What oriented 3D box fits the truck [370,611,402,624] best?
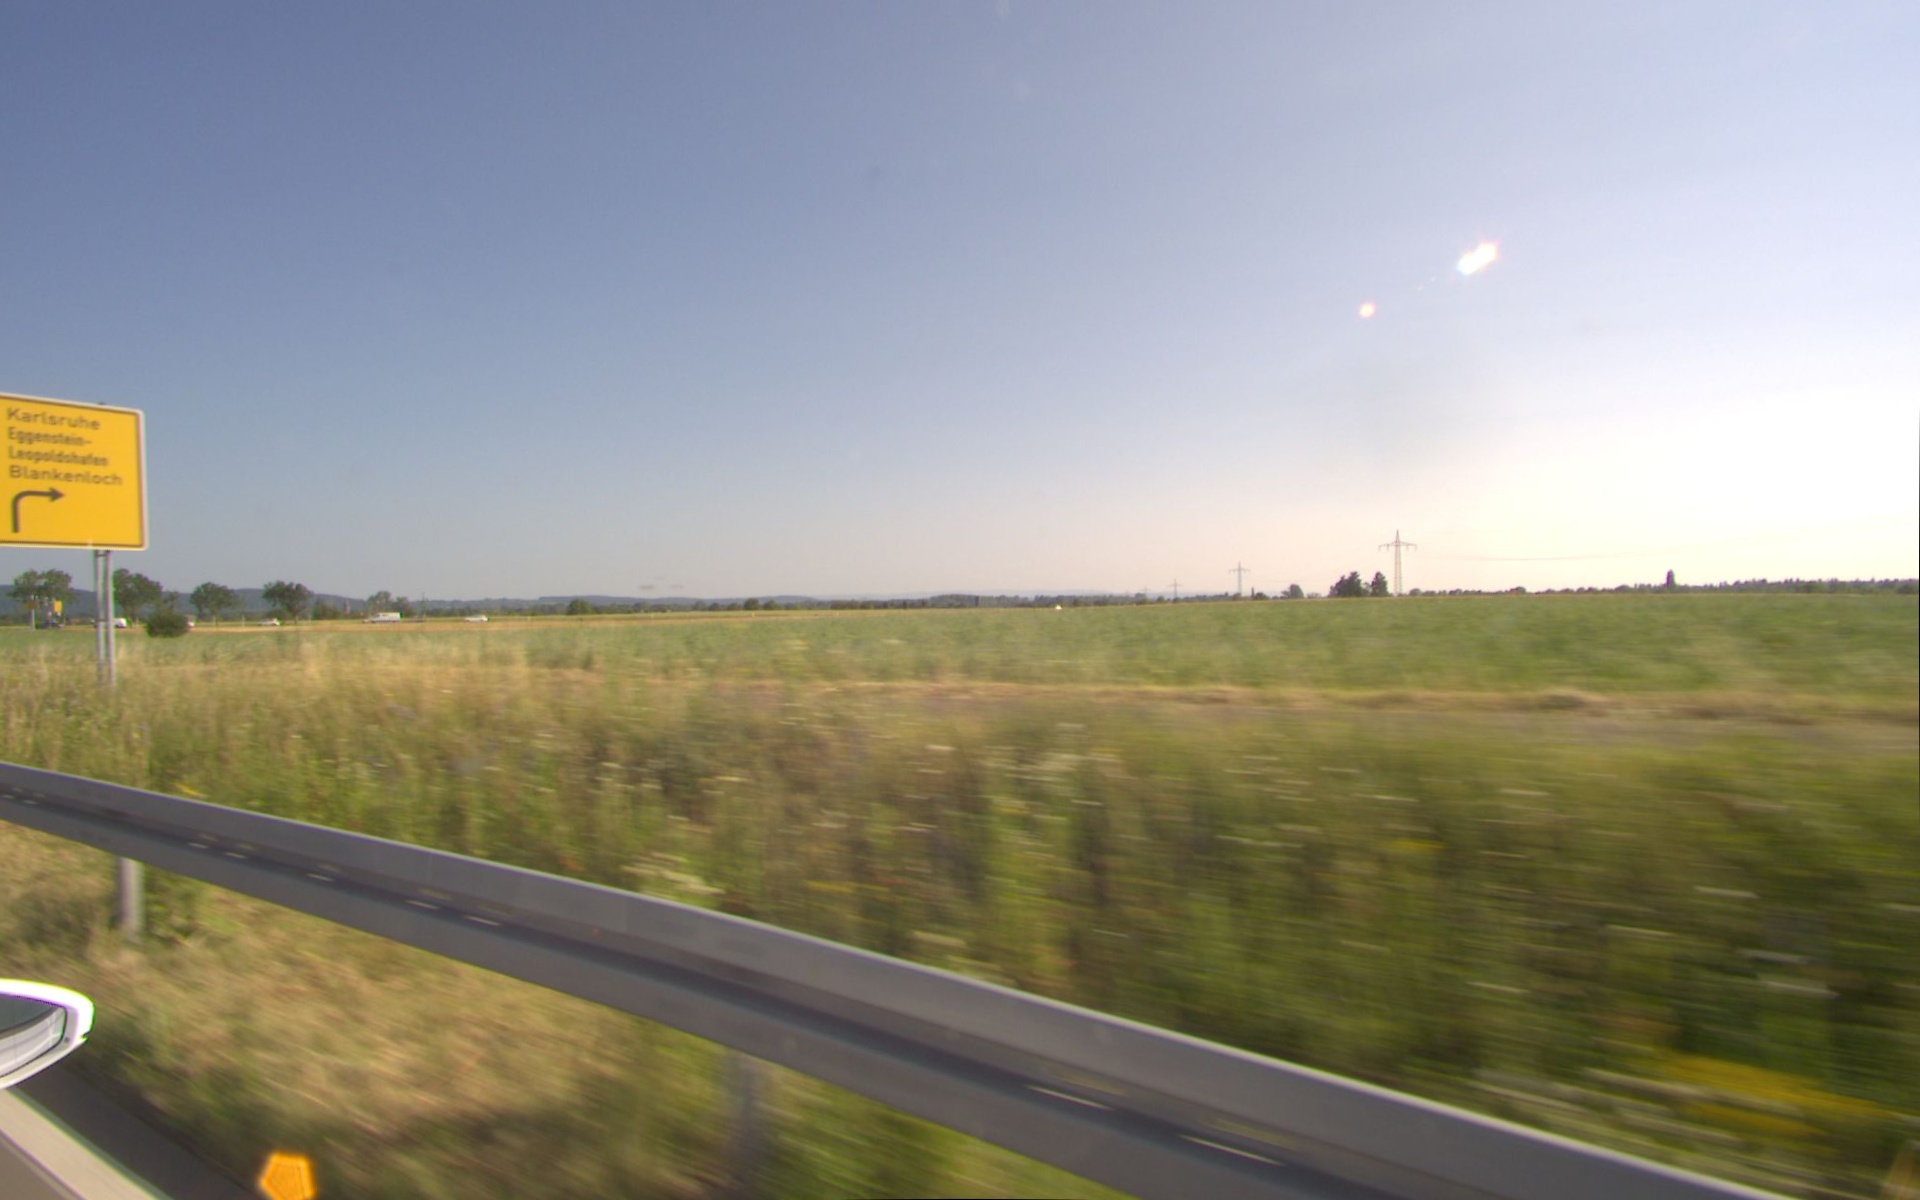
[{"bbox_3d":[-120.545,3.668,210.314,5.511,2.729,3.283,1,-2,-25],"label":"truck"}]

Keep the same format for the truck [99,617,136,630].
[{"bbox_3d":[-161.968,4.534,192.474,4.976,2.561,1.998,0,-2,-16],"label":"truck"}]
